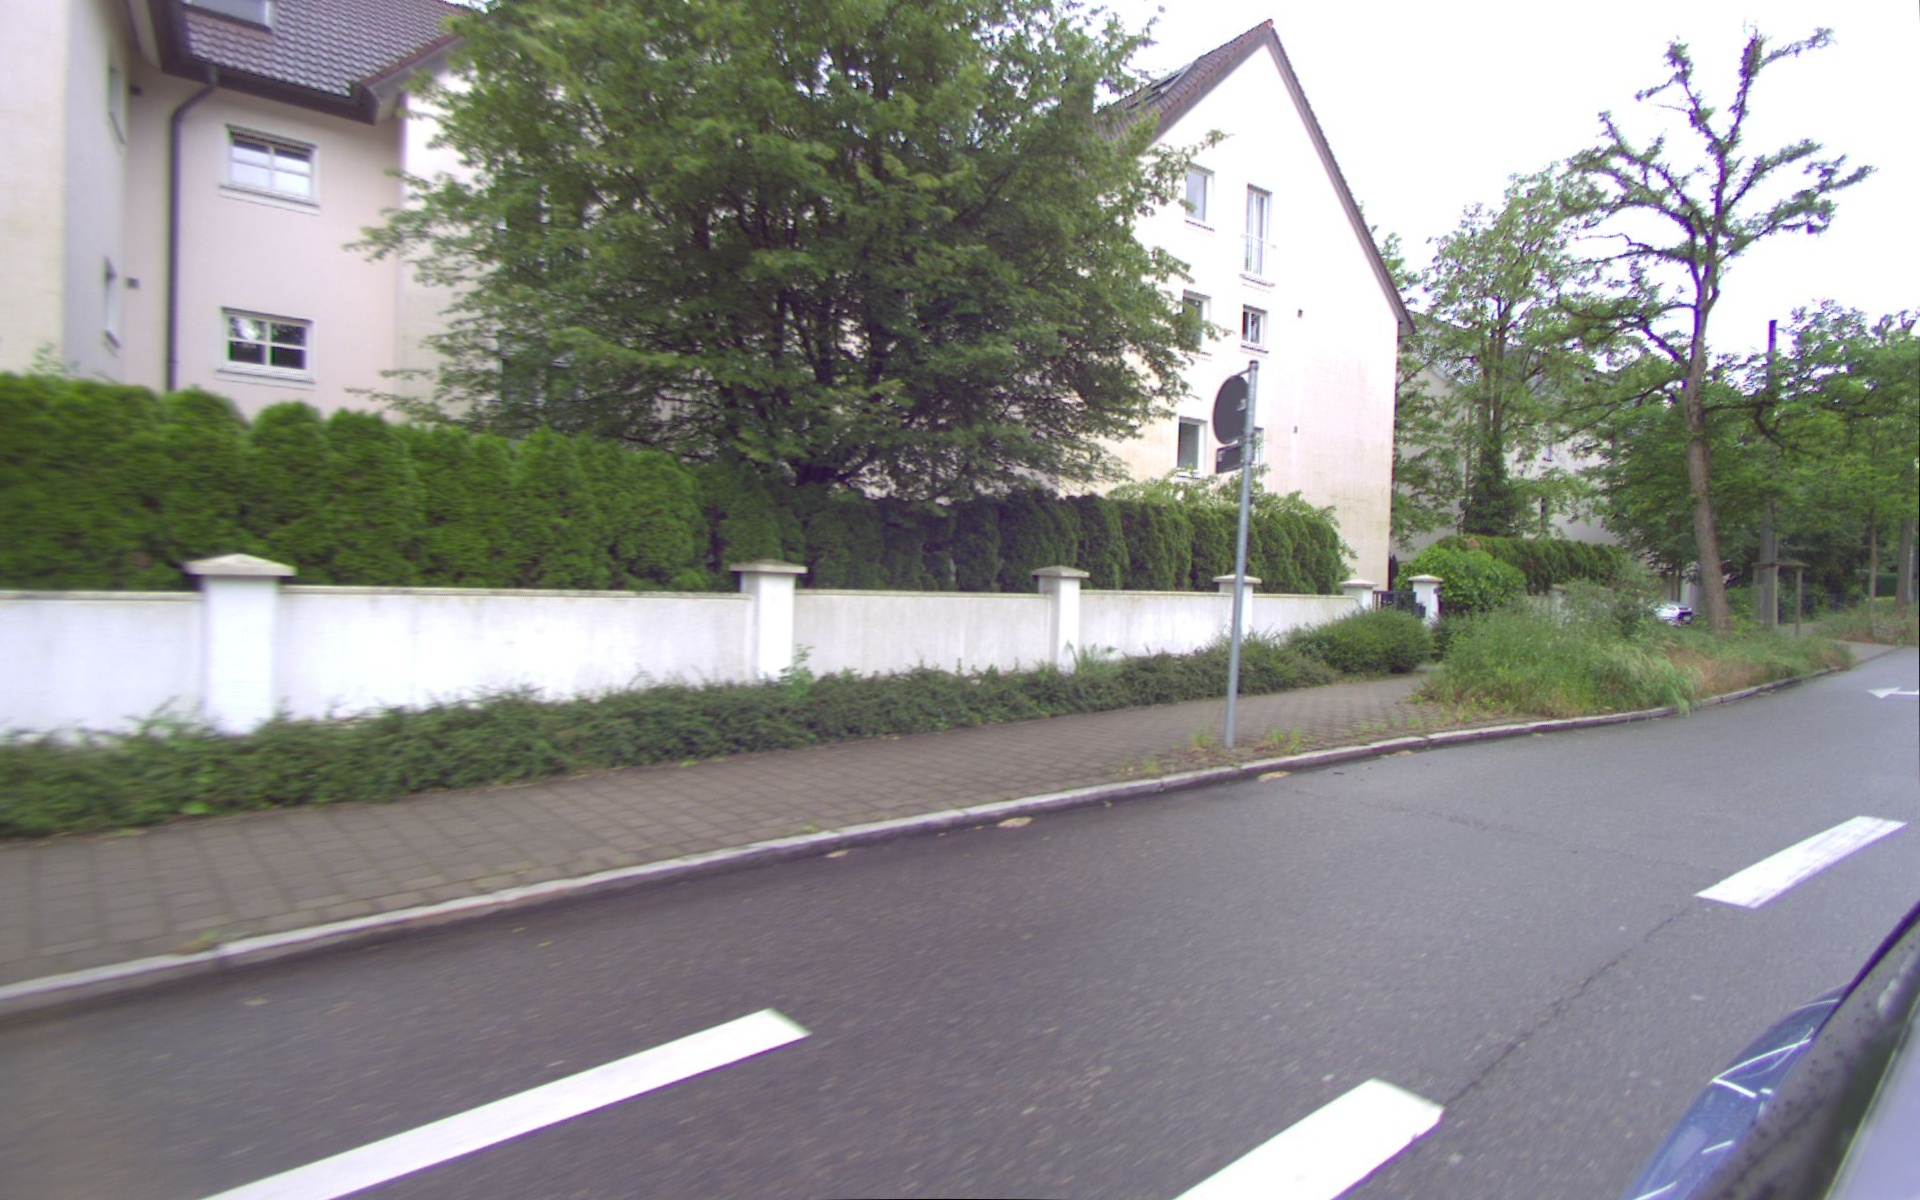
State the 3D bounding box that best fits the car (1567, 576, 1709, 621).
[{"bbox_3d":[22.757,-0.084,34.073,1.506,1.382,3.641,0,2,-33],"label":"car"}]
